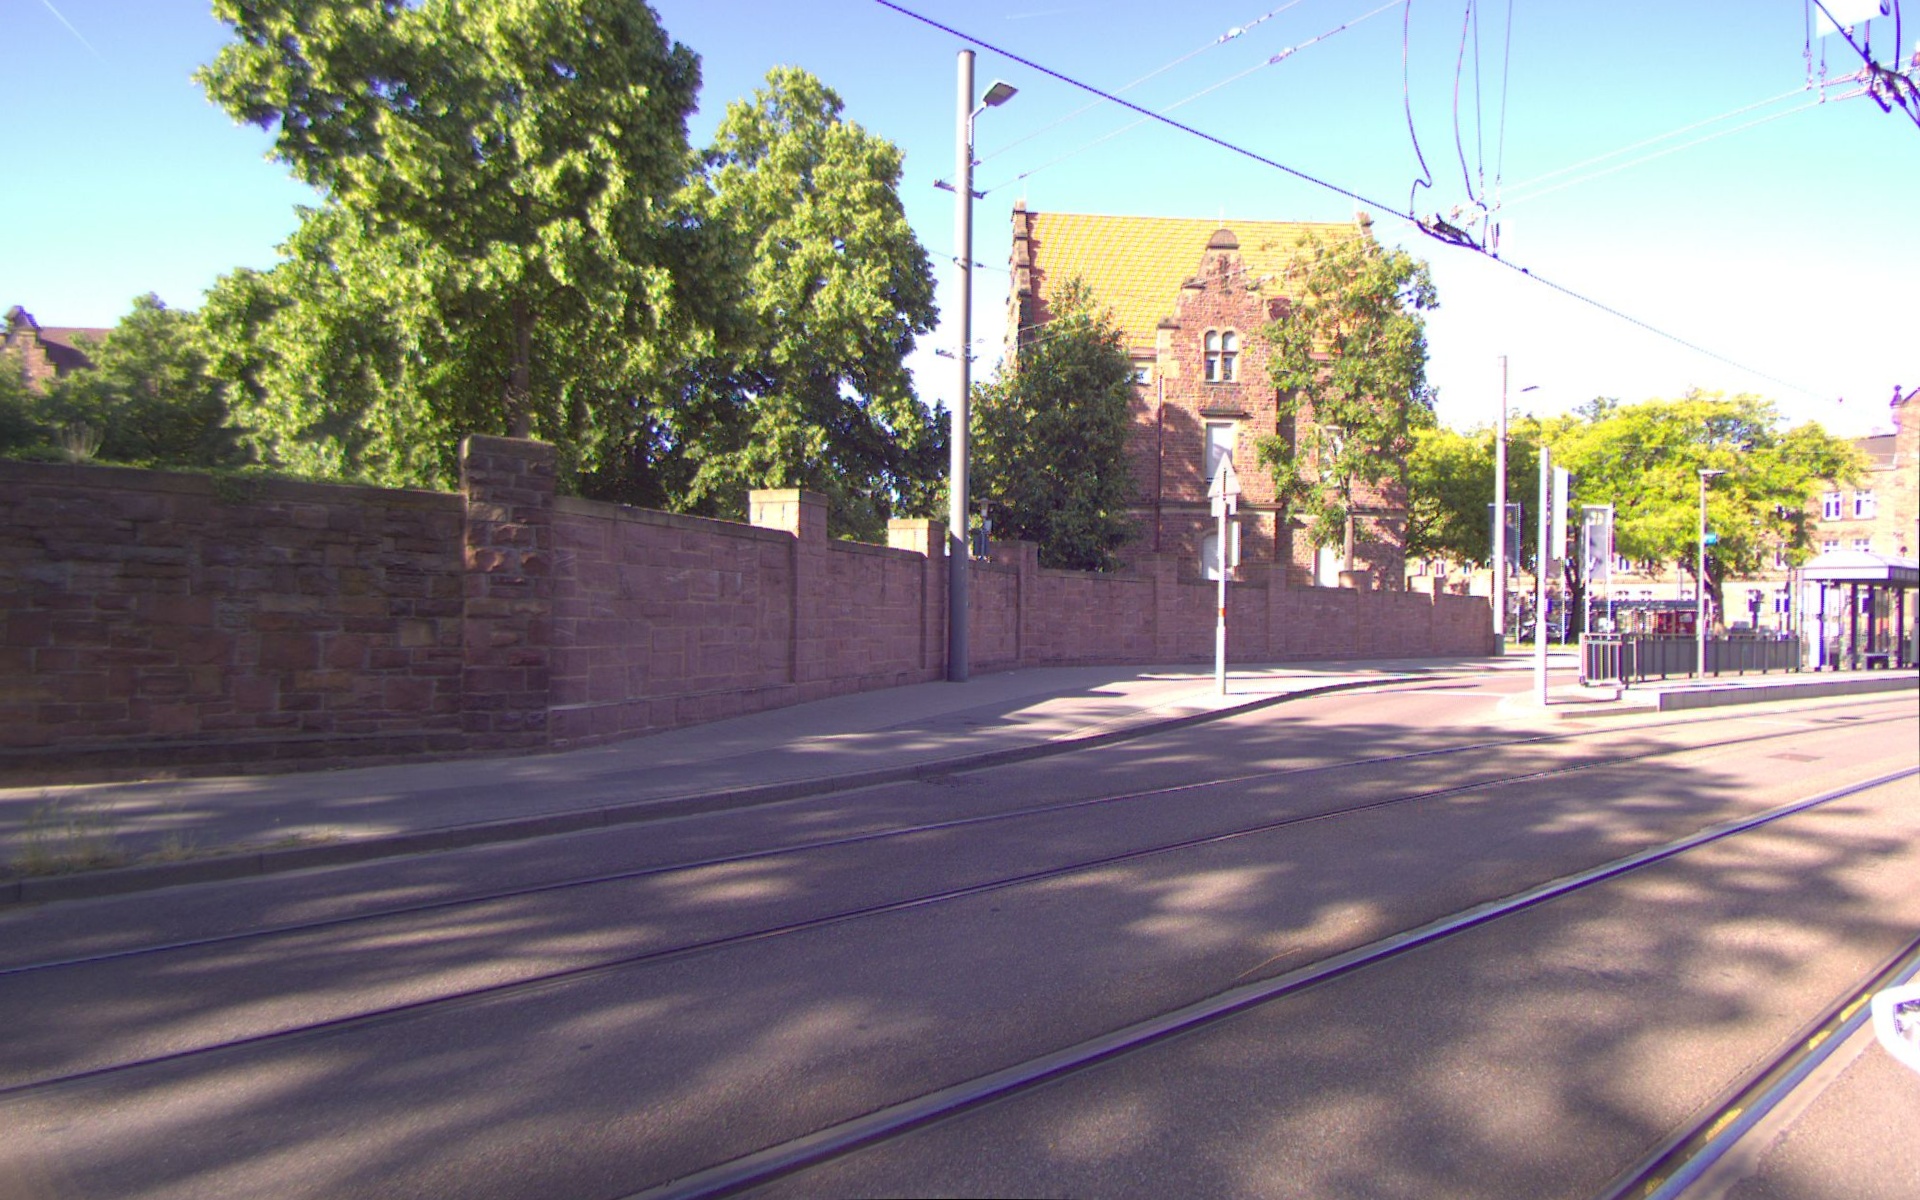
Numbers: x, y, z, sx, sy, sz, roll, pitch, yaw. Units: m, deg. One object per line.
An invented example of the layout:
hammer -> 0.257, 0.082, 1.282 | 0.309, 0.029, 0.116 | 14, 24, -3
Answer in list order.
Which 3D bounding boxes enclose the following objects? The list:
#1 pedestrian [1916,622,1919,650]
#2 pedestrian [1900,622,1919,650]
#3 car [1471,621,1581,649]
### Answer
pedestrian -> 55.193, 2.083, 57.230 | 0.924, 1.609, 0.798 | 2, 0, -32
pedestrian -> 57.027, 2.158, 60.161 | 0.924, 1.609, 0.798 | 2, 0, -32
car -> 43.566, 2.671, 77.503 | 2.957, 1.946, 6.915 | 1, -1, -30
